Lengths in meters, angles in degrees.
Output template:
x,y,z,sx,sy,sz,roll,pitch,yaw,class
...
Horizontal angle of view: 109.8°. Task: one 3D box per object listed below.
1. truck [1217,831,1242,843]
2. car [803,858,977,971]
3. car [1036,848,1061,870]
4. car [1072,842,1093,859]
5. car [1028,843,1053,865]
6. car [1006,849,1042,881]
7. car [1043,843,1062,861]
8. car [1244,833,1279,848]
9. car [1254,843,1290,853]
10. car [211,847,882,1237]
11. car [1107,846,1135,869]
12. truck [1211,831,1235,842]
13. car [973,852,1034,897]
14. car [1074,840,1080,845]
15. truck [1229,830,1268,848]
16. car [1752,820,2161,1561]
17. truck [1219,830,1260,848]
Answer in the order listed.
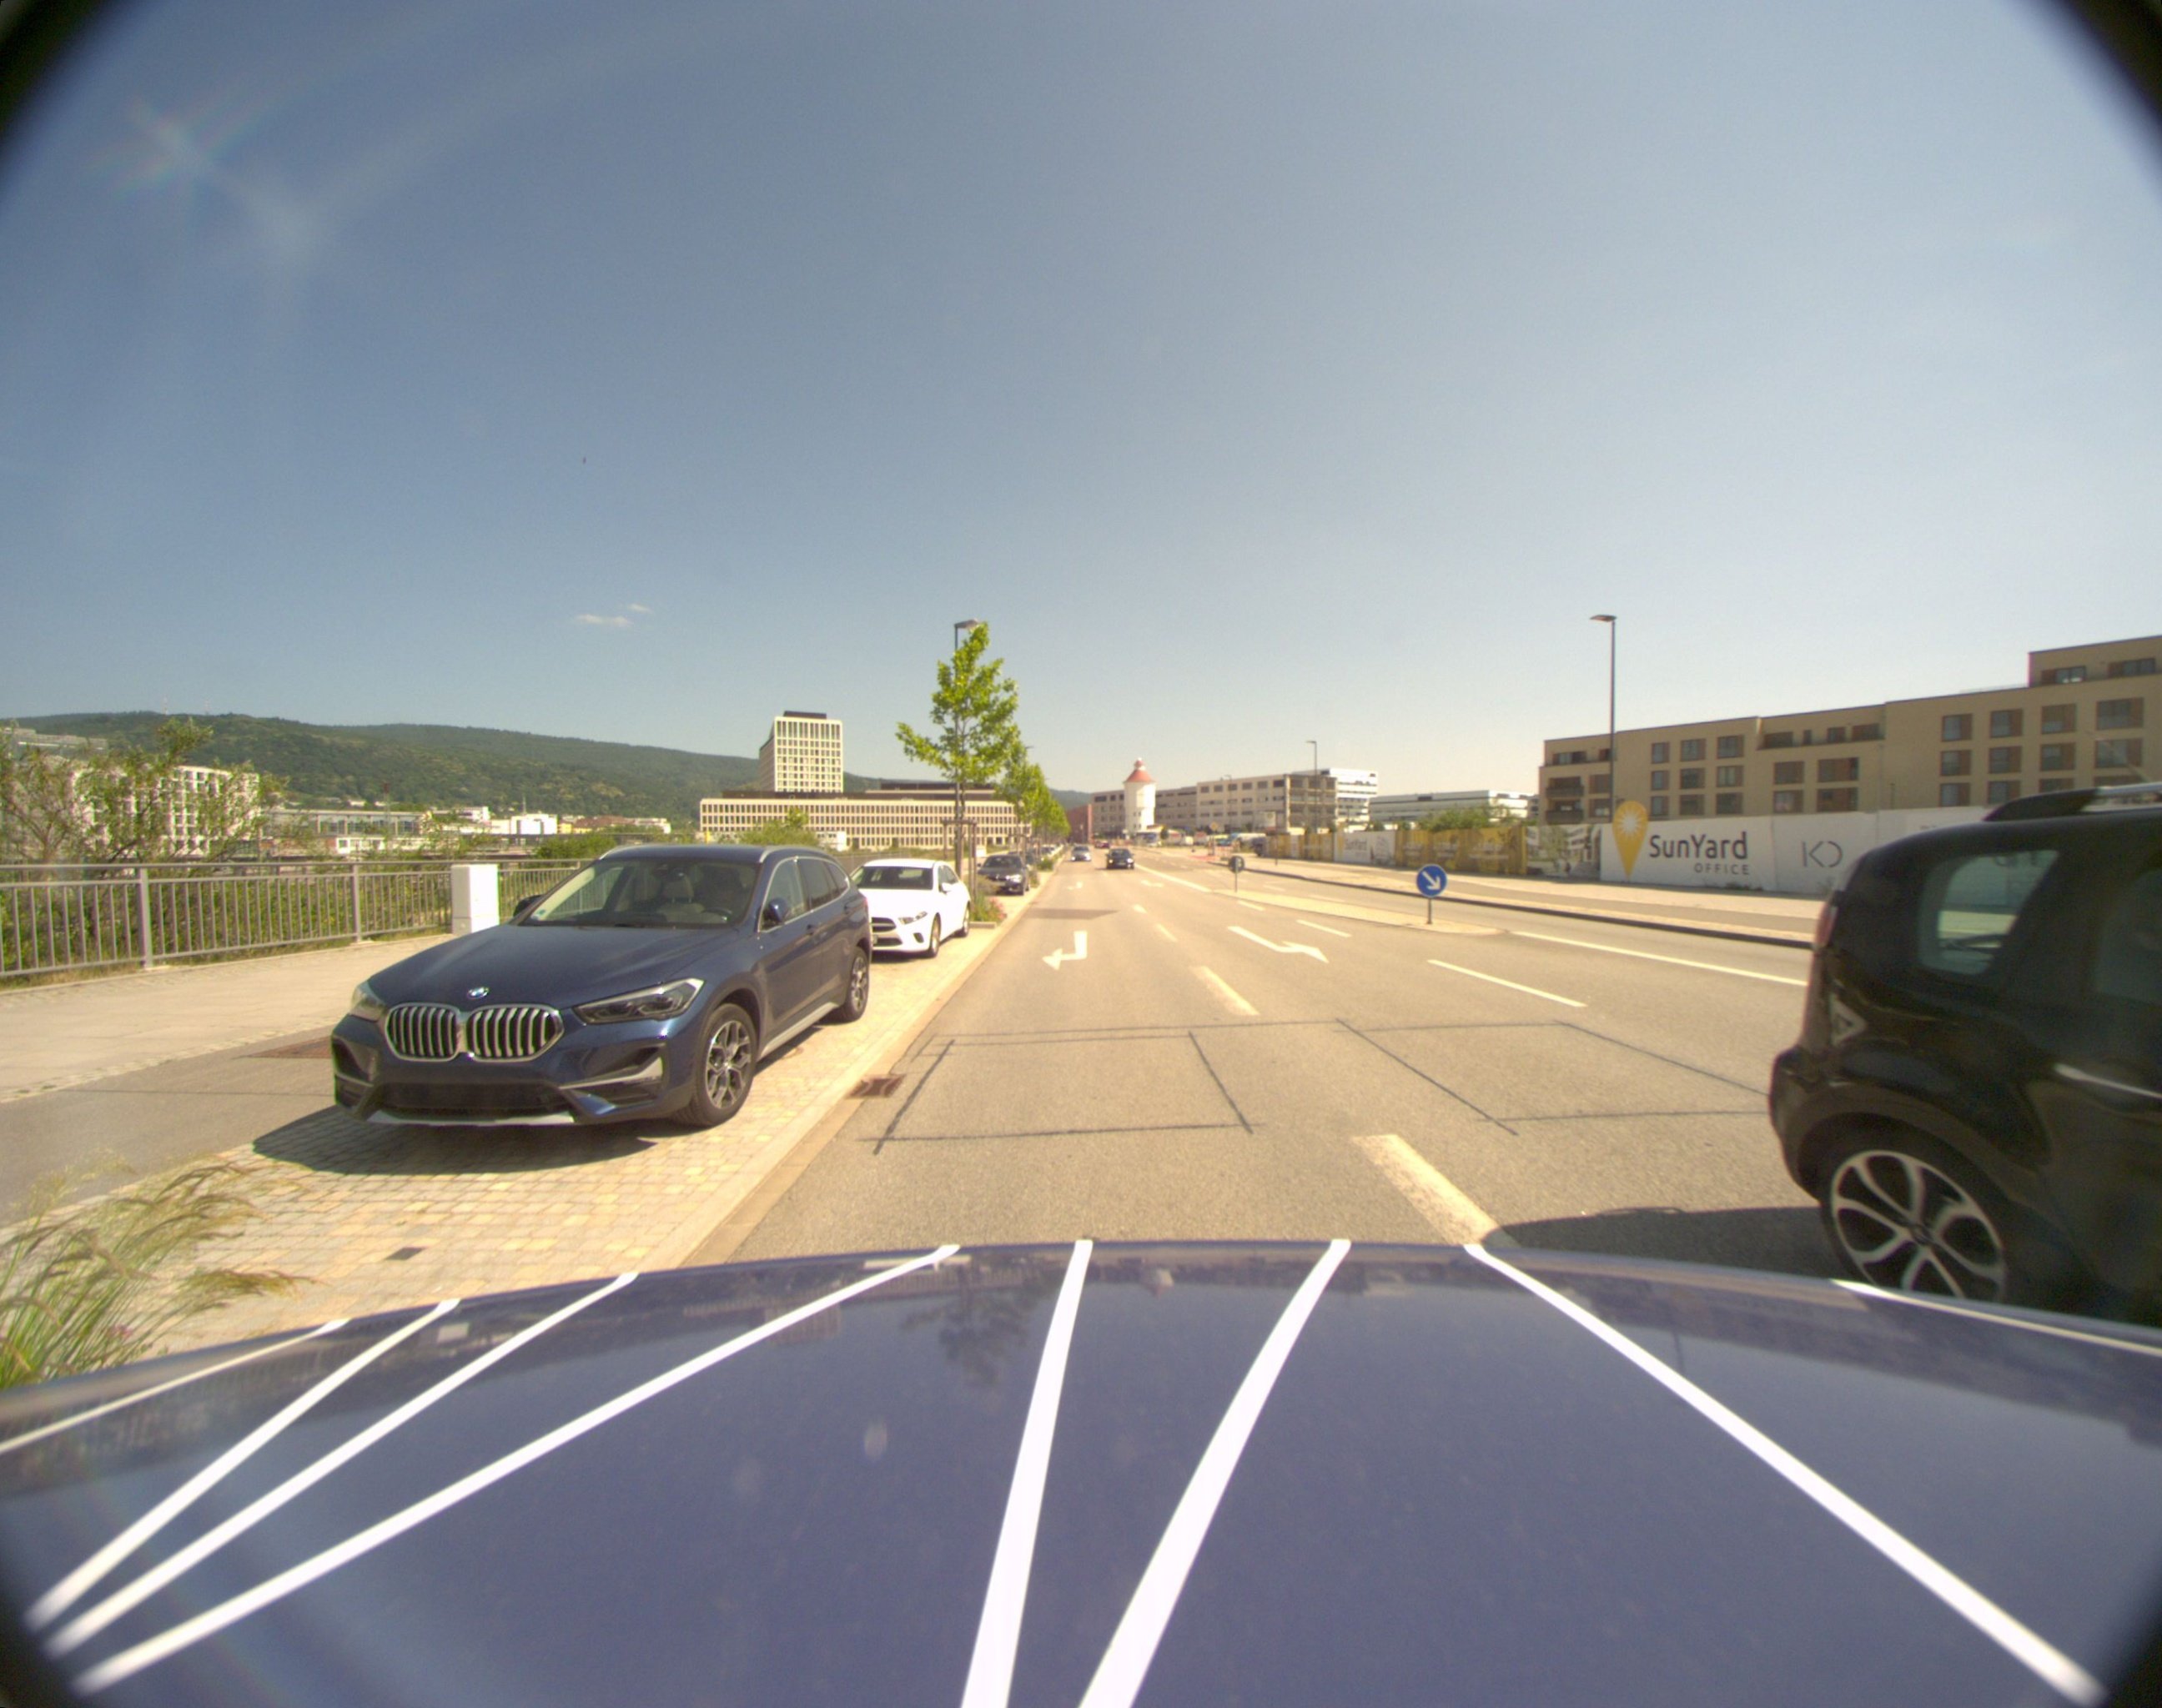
x,y,z,sx,sy,sz,roll,pitch,yaw,class
34.585,-3.949,177.518,5.333,2.461,1.999,-2,1,-4,truck
-2.890,0.836,12.446,1.711,1.366,4.270,2,1,0,car
-2.131,0.312,50.558,1.490,1.302,3.154,2,1,0,car
0.143,-0.329,70.863,1.820,1.458,4.346,-2,1,1,car
-3.220,-0.046,61.224,1.768,1.609,3.374,-3,1,0,car
-2.835,0.541,38.399,1.569,1.465,3.006,2,1,0,car
-2.632,-0.204,70.216,1.526,1.482,3.504,-3,1,0,car
22.861,-1.706,96.368,3.930,1.708,1.891,-3,1,-5,car
19.675,-0.612,78.179,3.359,0.947,1.293,-2,1,3,car
-2.912,0.815,5.489,1.808,1.674,4.270,1,1,0,car
2.676,0.192,51.390,1.709,1.404,3.999,-1,1,1,car
34.538,-4.293,185.390,5.412,2.461,1.999,-2,1,-2,truck
-2.771,0.681,27.859,1.808,1.424,3.915,2,1,0,car
-1.223,-3.693,238.275,1.819,1.458,4.347,-3,0,2,car
23.349,-2.083,105.953,5.005,2.215,1.999,-2,1,-1,truck
3.272,0.746,0.714,1.808,1.613,3.915,-3,1,0,car
23.632,-2.271,113.293,5.633,2.461,1.999,-2,1,-4,truck
